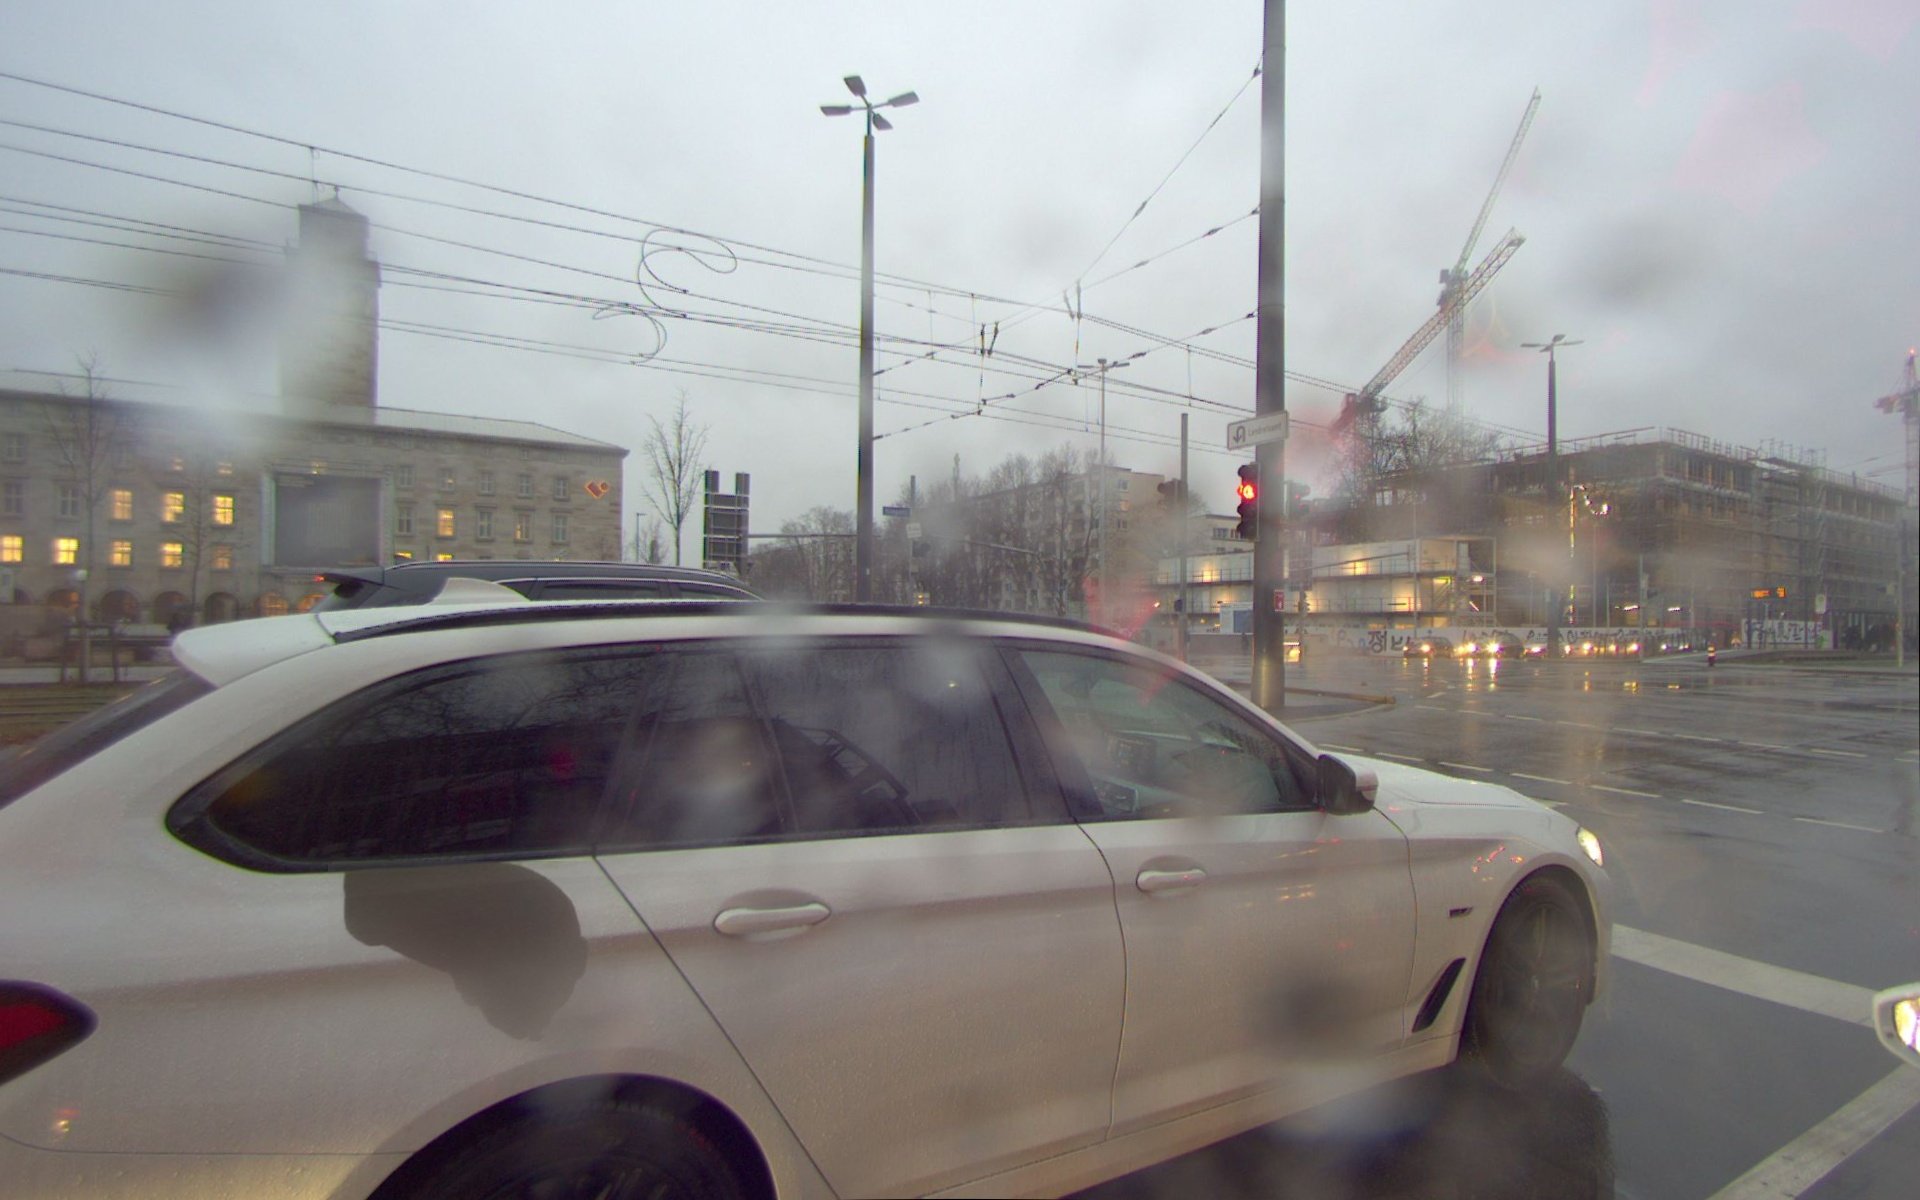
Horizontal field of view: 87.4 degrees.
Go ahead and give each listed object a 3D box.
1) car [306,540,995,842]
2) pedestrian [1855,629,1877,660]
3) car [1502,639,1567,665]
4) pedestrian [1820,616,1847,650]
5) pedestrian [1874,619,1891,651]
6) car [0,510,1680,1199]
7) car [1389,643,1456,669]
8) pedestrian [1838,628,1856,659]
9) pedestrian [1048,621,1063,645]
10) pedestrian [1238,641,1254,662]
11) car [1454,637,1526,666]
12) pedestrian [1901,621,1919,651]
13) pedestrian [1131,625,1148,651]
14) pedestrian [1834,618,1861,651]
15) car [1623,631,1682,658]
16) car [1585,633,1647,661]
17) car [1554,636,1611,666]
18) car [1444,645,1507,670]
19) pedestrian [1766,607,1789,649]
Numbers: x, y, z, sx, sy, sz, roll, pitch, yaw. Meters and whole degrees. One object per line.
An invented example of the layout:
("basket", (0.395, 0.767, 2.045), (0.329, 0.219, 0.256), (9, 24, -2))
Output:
("car", (-2.067, 0.556, 7.237), (4.238, 1.605, 1.958), (2, -1, -29))
("pedestrian", (56.555, 2.774, 62.717), (0.754, 1.922, 0.761), (3, -1, -30))
("car", (35.879, 3.244, 62.722), (4.577, 1.550, 2.059), (2, -2, -40))
("pedestrian", (53.491, 1.992, 61.490), (1.081, 2.040, 0.937), (2, 0, -31))
("pedestrian", (57.986, 2.191, 63.132), (0.659, 1.994, 0.566), (2, 1, -36))
("car", (0.008, 0.709, 3.104), (4.508, 1.506, 2.007), (2, -2, -31))
("car", (29.356, 3.553, 63.768), (3.953, 1.550, 1.984), (2, -2, -30))
("pedestrian", (54.568, 2.684, 61.786), (0.547, 1.906, 0.695), (2, 0, -30))
("pedestrian", (8.139, 2.816, 85.705), (0.809, 1.959, 0.916), (2, 0, -36))
("pedestrian", (19.181, 3.438, 67.300), (0.715, 1.407, 0.725), (2, -2, -28))
("car", (31.251, 3.021, 59.206), (3.953, 1.679, 1.984), (2, -2, -30))
("pedestrian", (66.119, 2.514, 69.802), (1.085, 2.040, 0.934), (2, 0, -39))
("pedestrian", (13.636, 2.892, 76.467), (0.809, 1.959, 0.916), (2, 0, -36))
("pedestrian", (55.378, 2.155, 62.674), (1.082, 2.040, 0.937), (2, 0, -32))
("car", (50.165, 3.213, 72.782), (3.951, 1.814, 1.985), (2, 0, -29))
("car", (45.560, 3.276, 69.775), (3.951, 1.814, 1.985), (2, 0, -29))
("car", (41.155, 3.323, 66.393), (3.963, 1.852, 1.852), (2, 0, -37))
("car", (34.738, 3.853, 67.628), (3.953, 1.550, 1.984), (2, -2, -30))
("pedestrian", (47.143, 1.627, 57.941), (0.754, 2.354, 0.761), (3, -1, -30))
